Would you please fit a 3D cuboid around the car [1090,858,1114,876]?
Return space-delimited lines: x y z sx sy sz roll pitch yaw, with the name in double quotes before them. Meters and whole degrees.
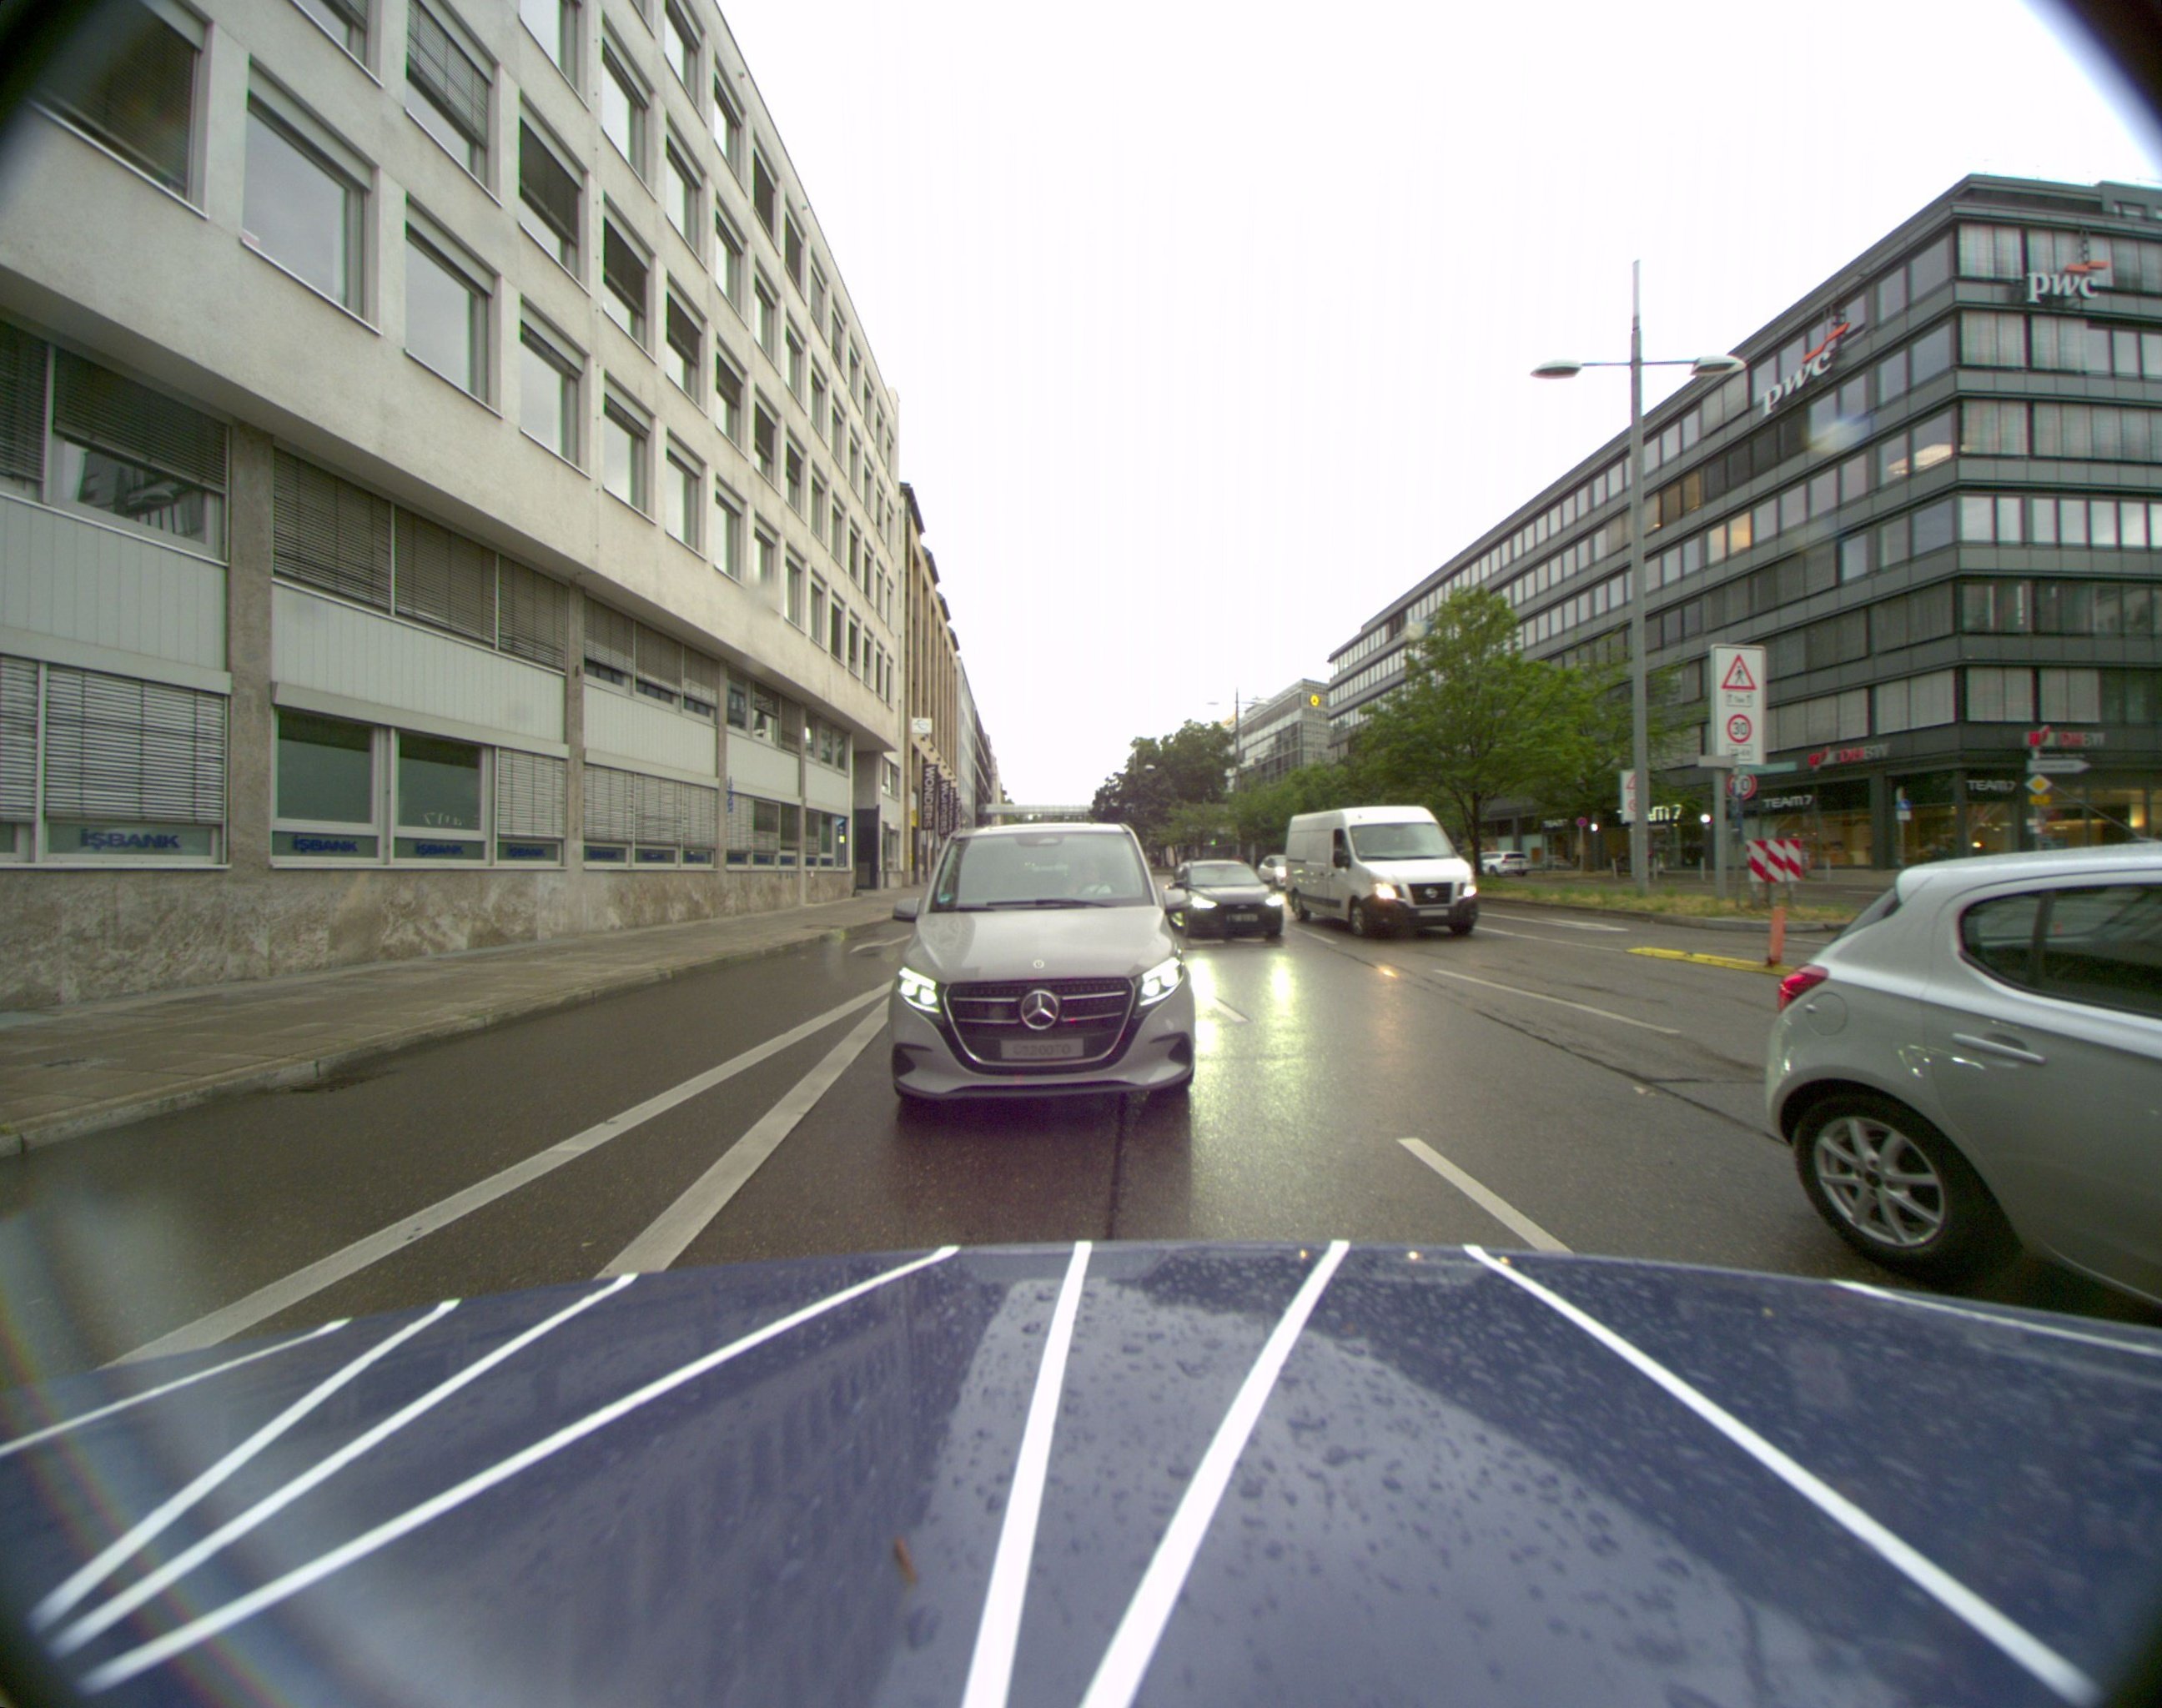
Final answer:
"car" 1.700 1.069 62.432 1.776 1.372 4.094 -2 0 -1

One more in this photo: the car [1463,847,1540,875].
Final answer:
"car" 24.085 0.379 43.670 1.999 1.498 3.999 -2 0 -4

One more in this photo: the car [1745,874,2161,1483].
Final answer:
"car" 3.491 0.818 1.084 1.652 1.427 3.875 -2 0 0

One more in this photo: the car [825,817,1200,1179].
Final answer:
"car" -0.375 0.766 6.530 1.916 1.844 5.026 -2 0 0

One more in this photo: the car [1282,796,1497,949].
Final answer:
"car" 5.778 0.307 15.165 1.951 2.426 5.480 -2 0 0

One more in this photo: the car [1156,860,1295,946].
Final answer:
"car" 2.745 0.870 15.406 1.776 1.427 4.093 -2 0 -4

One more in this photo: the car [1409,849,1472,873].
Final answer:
"car" 23.627 0.438 50.128 1.999 1.498 4.106 -2 0 -4

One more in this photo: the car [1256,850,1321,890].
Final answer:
"car" 8.877 0.654 32.819 1.766 1.608 3.495 -2 0 -1
